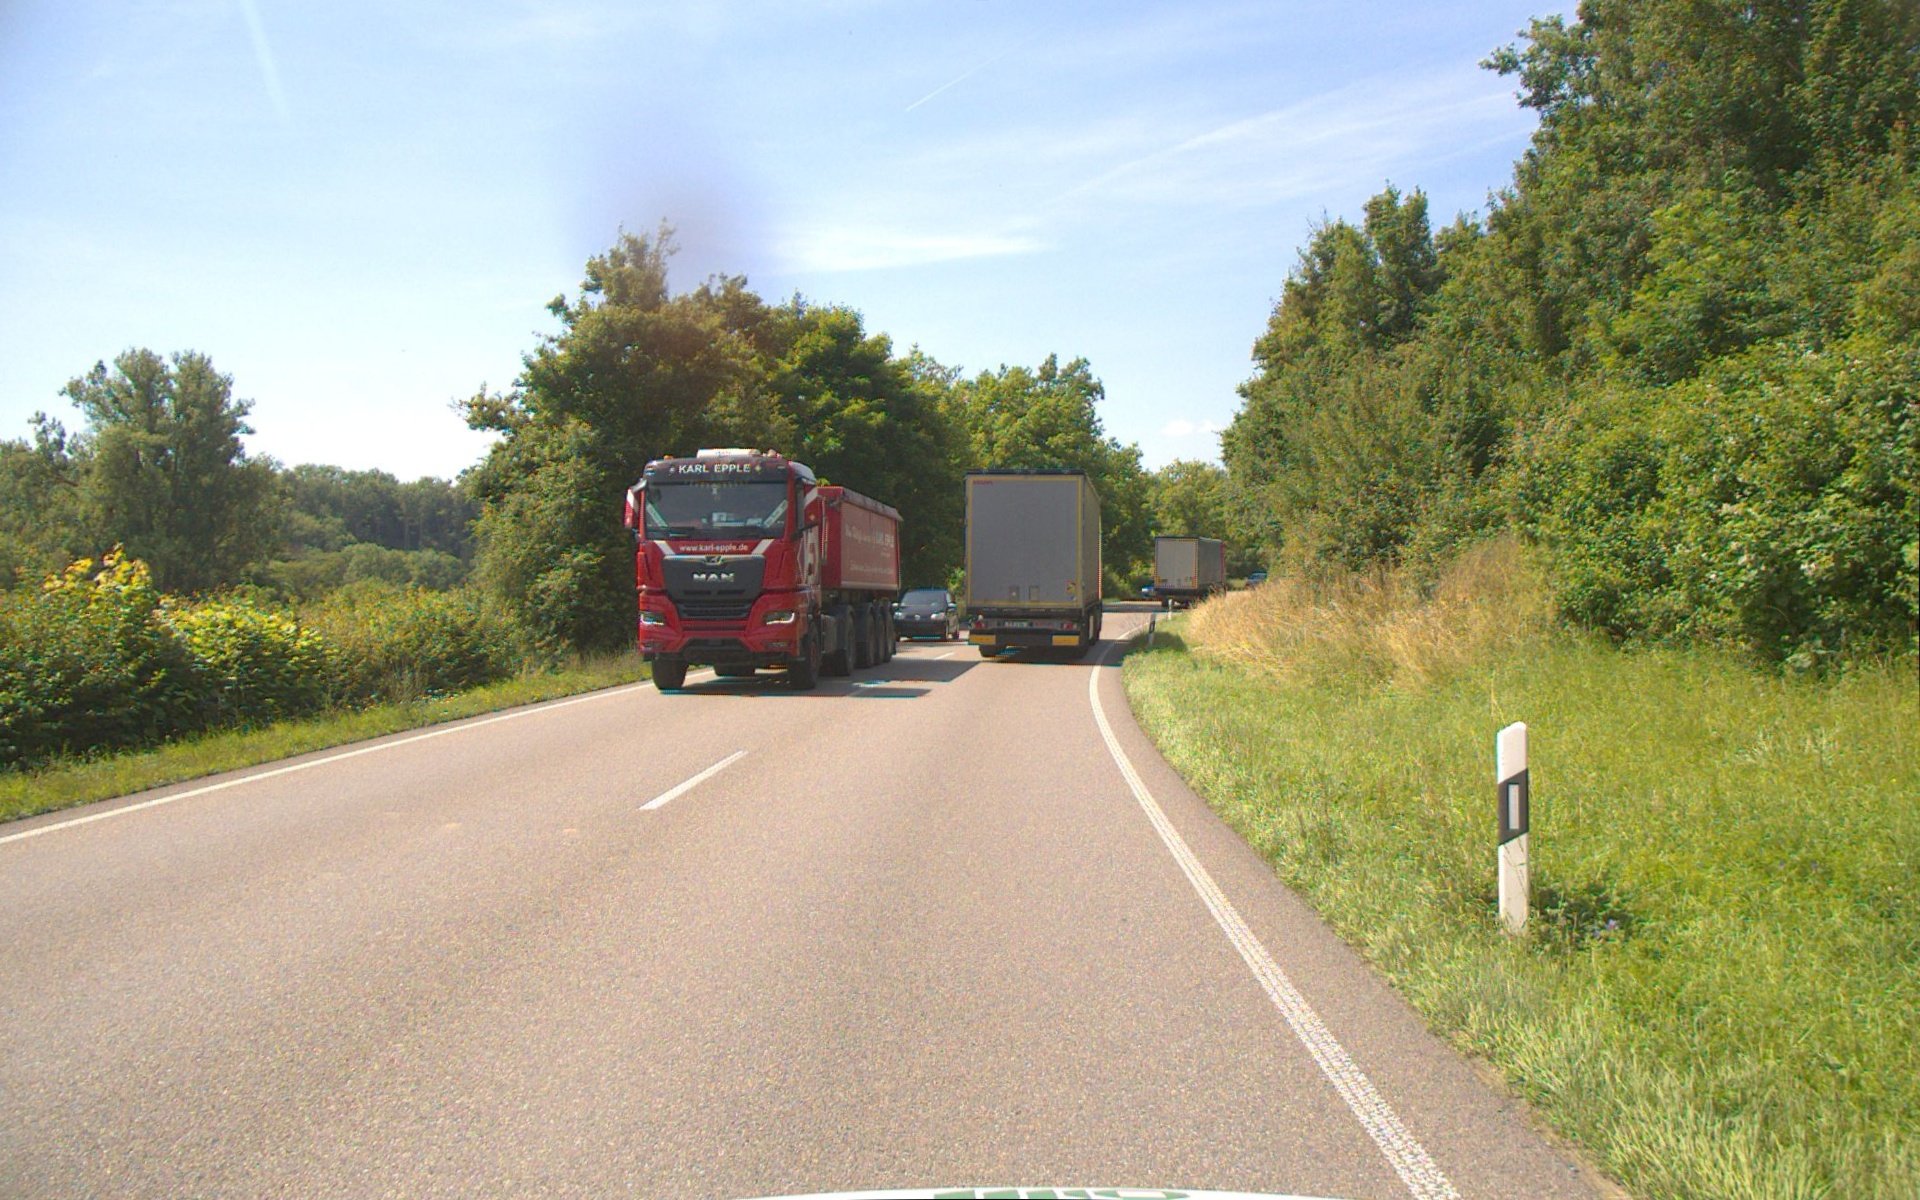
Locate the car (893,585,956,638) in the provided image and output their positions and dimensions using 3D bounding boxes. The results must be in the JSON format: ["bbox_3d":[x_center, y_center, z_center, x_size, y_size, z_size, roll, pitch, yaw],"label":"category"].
[{"bbox_3d":[-0.992,0.313,47.965,1.399,1.496,3.274,0,0,7],"label":"car"}]

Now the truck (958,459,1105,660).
[{"bbox_3d":[2.135,-0.947,41.880,2.742,4.139,15.337,1,1,6],"label":"truck"}]

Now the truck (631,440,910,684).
[{"bbox_3d":[-2.939,-0.579,30.231,2.498,3.513,12.642,0,0,5],"label":"truck"}]

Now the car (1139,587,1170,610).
[{"bbox_3d":[13.428,-0.086,113.884,1.634,1.558,3.961,0,0,14],"label":"car"}]

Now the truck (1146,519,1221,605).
[{"bbox_3d":[13.882,-2.394,101.598,3.038,4.787,16.605,-1,2,13],"label":"truck"}]
